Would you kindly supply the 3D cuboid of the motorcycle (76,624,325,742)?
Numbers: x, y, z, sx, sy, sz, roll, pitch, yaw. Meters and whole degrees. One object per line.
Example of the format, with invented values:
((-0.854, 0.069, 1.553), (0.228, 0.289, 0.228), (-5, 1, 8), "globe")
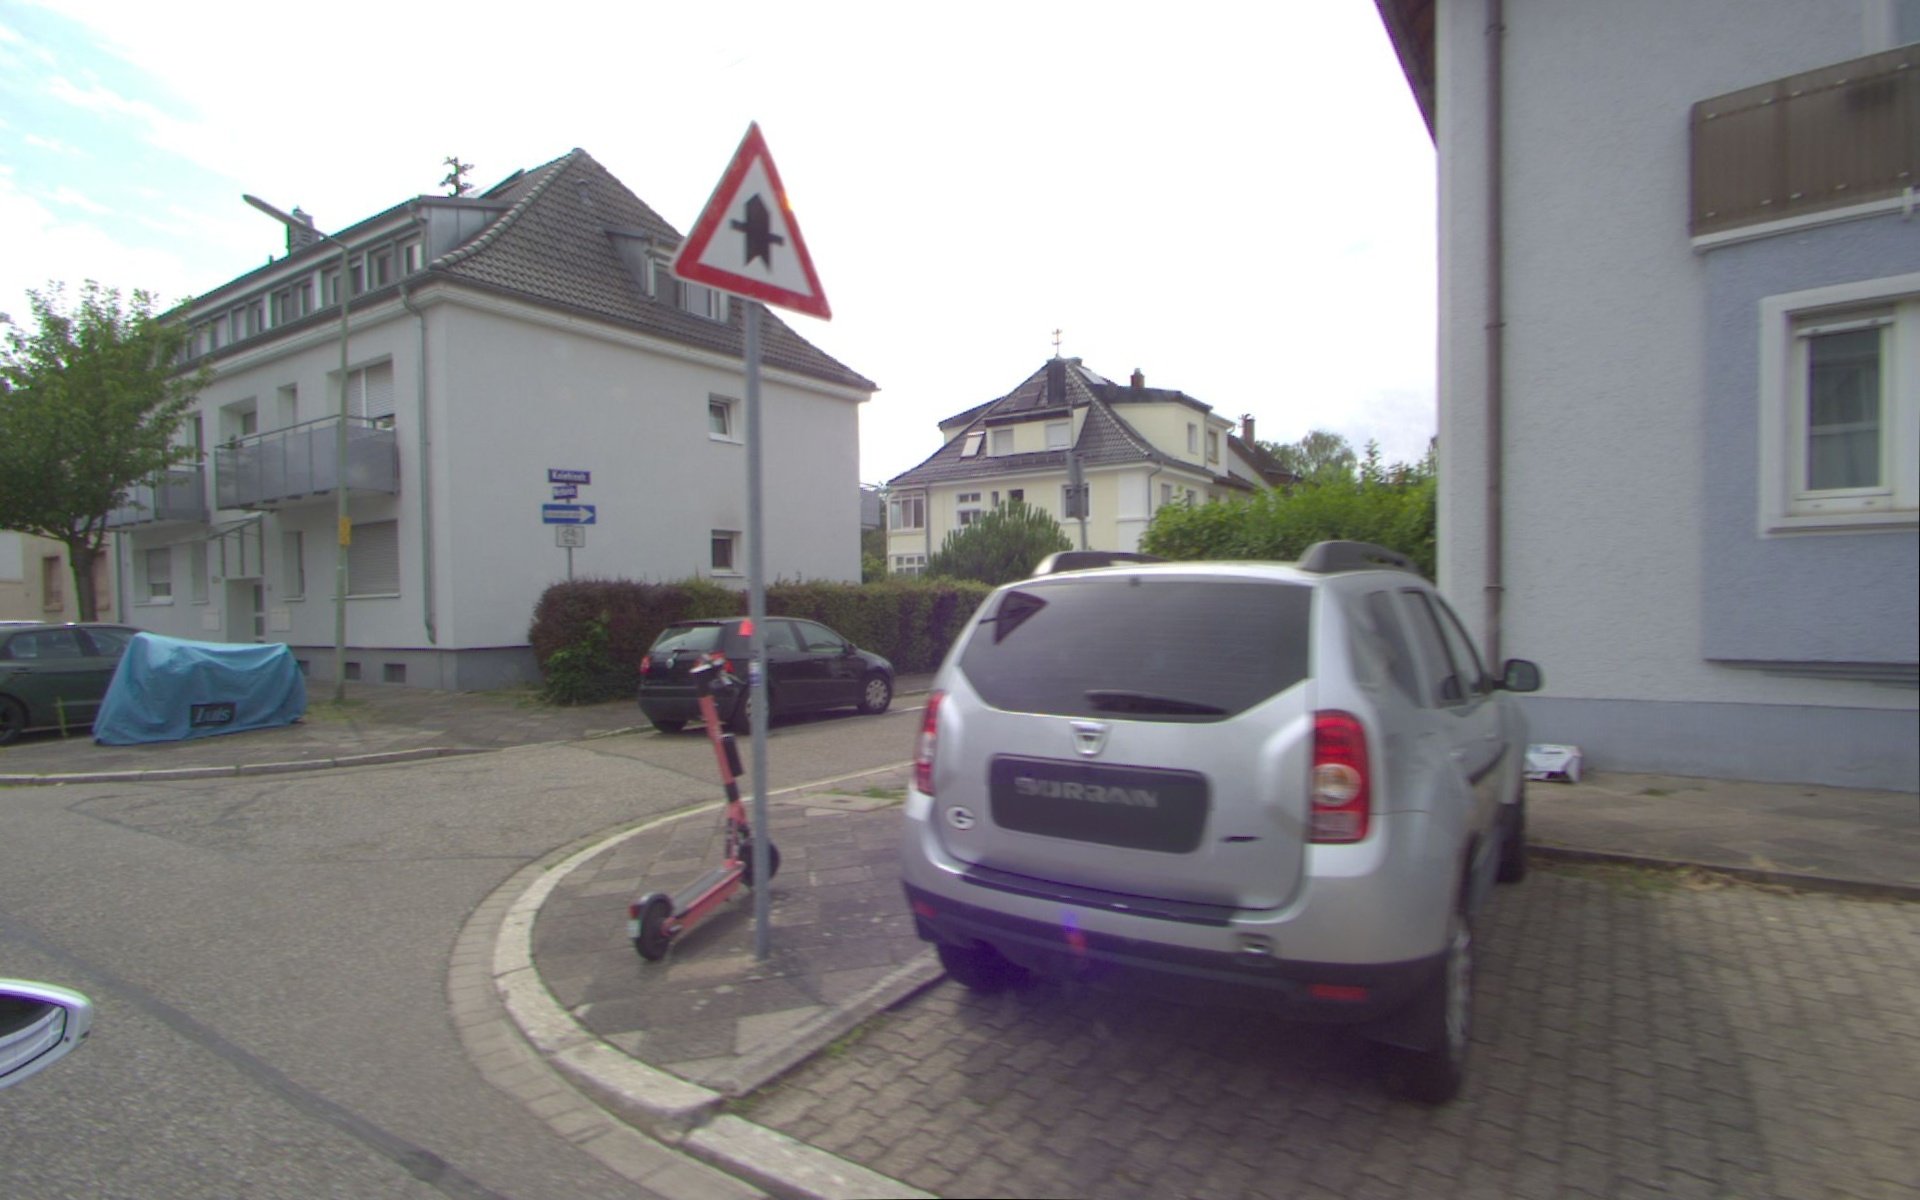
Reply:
((-9.011, 0.929, 11.994), (0.926, 1.226, 2.188), (0, 0, 32), "motorcycle")

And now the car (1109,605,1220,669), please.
((5.474, 0.912, 26.465), (1.640, 1.538, 3.794), (0, 0, 32), "car")

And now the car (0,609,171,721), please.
((-13.531, 0.929, 14.071), (1.537, 1.431, 3.506), (0, 2, 34), "car")

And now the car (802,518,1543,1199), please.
((1.358, 0.557, 4.375), (1.842, 1.655, 3.911), (-1, 3, 33), "car")

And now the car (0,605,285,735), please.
((-11.257, 0.843, 12.996), (1.749, 1.384, 3.734), (0, 2, 35), "car")

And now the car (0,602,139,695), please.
((-17.395, 0.882, 17.787), (1.699, 1.539, 3.974), (0, 2, 34), "car")

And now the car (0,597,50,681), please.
((-19.631, 0.804, 18.570), (1.749, 1.586, 3.734), (0, 2, 35), "car")

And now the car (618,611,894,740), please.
((-2.634, 0.907, 13.772), (1.638, 1.462, 3.797), (0, 0, 29), "car")

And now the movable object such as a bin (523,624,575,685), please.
((-7.082, 0.925, 17.248), (0.690, 1.021, 0.518), (0, 0, 32), "movable object such as a bin")

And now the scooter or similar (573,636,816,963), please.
((-1.190, 0.840, 4.728), (0.415, 1.260, 1.239), (-1, 2, 22), "scooter or similar")

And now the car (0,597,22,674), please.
((-22.119, 0.831, 20.456), (1.842, 1.640, 3.973), (0, 2, 35), "car")
